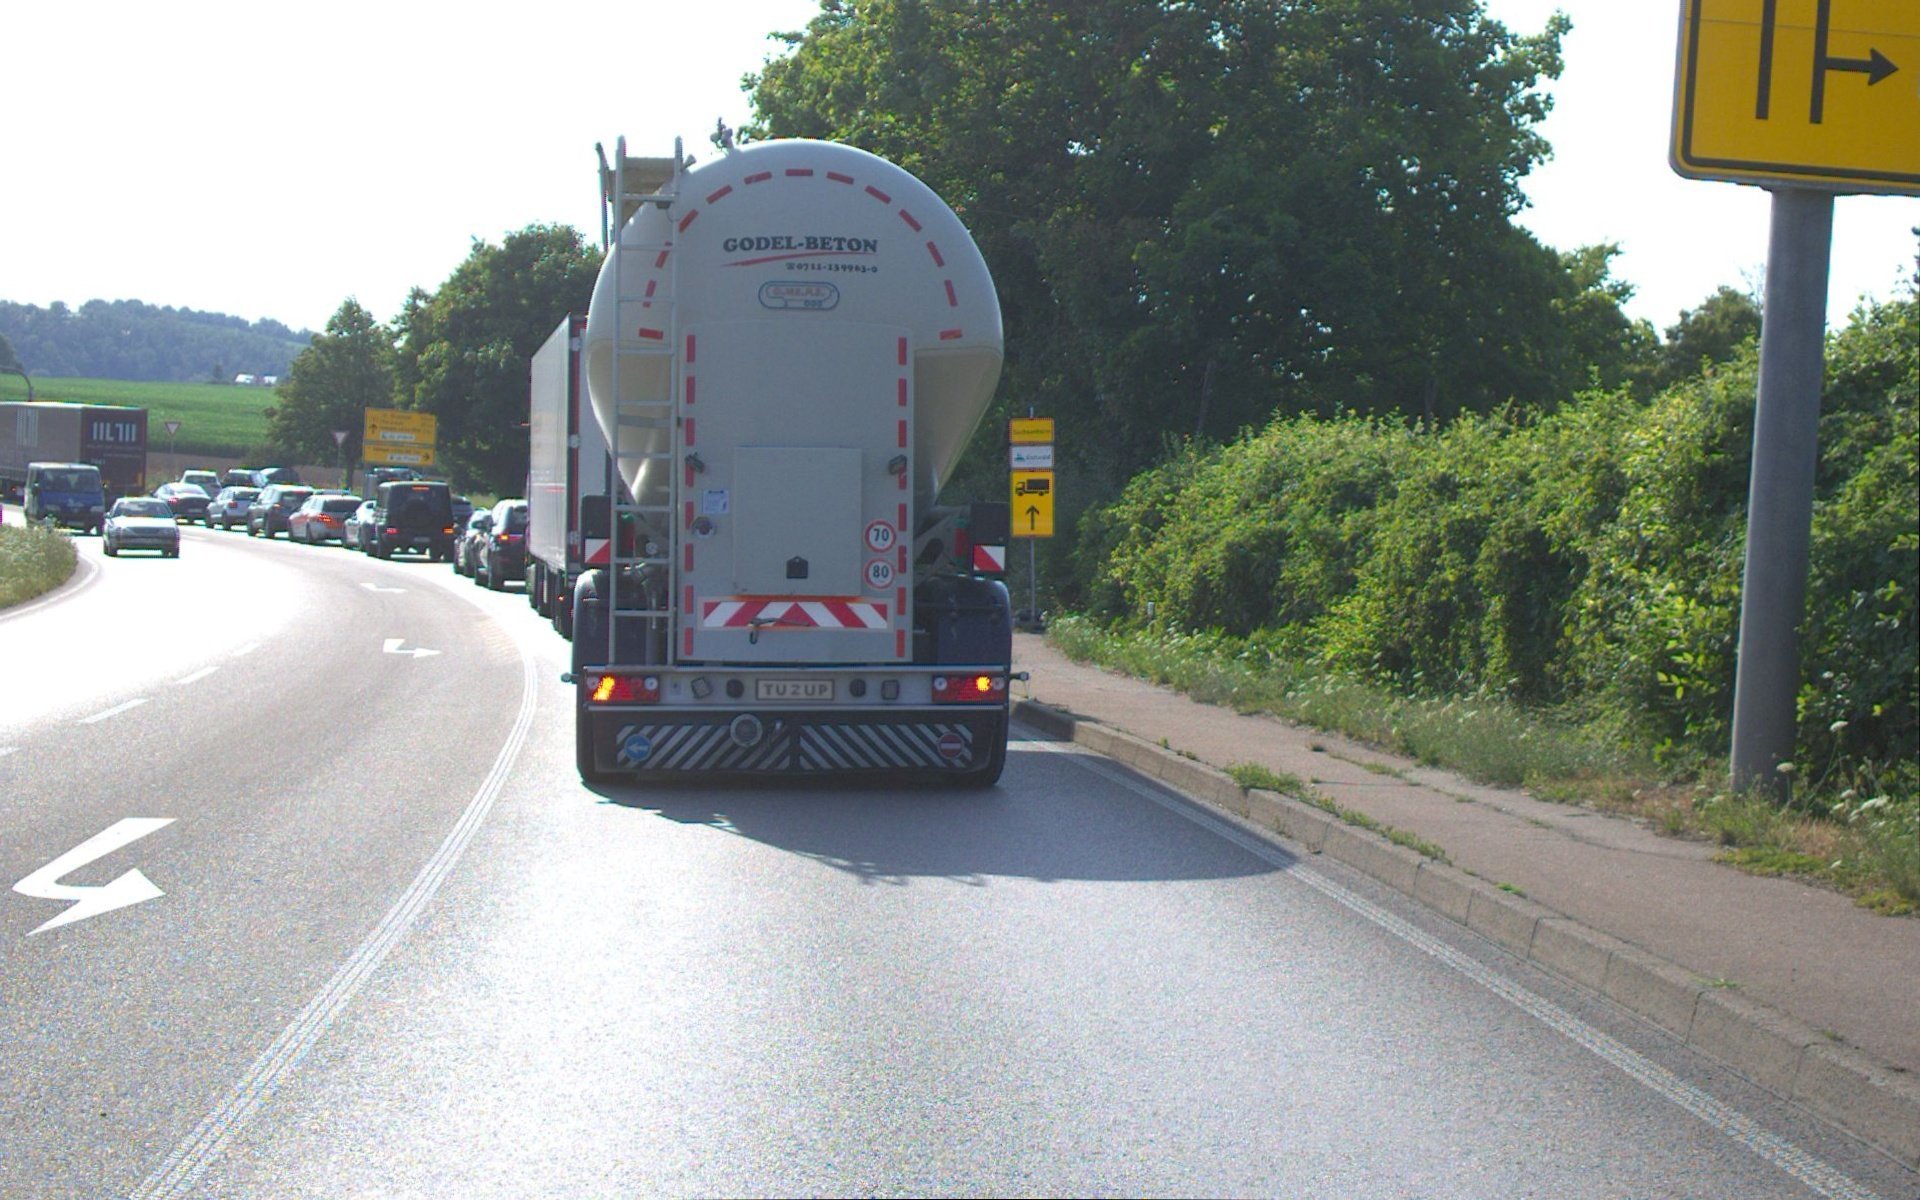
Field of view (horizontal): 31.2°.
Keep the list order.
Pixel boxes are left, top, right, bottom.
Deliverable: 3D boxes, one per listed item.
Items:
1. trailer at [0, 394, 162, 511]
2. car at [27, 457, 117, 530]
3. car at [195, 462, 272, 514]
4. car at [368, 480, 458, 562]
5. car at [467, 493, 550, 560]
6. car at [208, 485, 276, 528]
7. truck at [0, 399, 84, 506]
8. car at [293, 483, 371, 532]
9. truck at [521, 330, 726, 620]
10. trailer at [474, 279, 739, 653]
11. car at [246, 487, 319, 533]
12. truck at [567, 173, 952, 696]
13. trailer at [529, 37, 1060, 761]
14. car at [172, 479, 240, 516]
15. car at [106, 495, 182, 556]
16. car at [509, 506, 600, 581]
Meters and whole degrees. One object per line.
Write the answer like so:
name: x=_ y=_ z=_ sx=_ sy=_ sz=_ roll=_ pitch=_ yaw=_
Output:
trailer: x=-35.823 y=-5.960 z=138.810 sx=3.375 sy=4.335 sz=14.296 roll=2 pitch=2 yaw=-28
car: x=-27.203 y=-3.263 z=105.211 sx=1.997 sy=2.129 sz=4.781 roll=1 pitch=1 yaw=-22
car: x=-29.773 y=-4.588 z=140.802 sx=1.993 sy=2.006 sz=4.001 roll=0 pitch=3 yaw=-28
car: x=-14.001 y=-2.038 z=87.828 sx=1.861 sy=2.006 sz=3.720 roll=1 pitch=2 yaw=-15
car: x=-9.715 y=-1.590 z=73.831 sx=1.580 sy=1.336 sz=3.427 roll=2 pitch=1 yaw=-10
car: x=-24.173 y=-3.148 z=115.678 sx=1.580 sy=1.336 sz=3.427 roll=2 pitch=1 yaw=-22
truck: x=-39.688 y=-6.269 z=146.120 sx=3.375 sy=4.335 sz=5.707 roll=2 pitch=1 yaw=-28
car: x=-18.634 y=-2.752 z=101.941 sx=1.580 sy=1.336 sz=3.427 roll=2 pitch=1 yaw=-22
truck: x=-5.306 y=-1.962 z=54.661 sx=2.951 sy=4.288 sz=4.932 roll=2 pitch=1 yaw=-5
trailer: x=-4.751 y=-1.771 z=47.742 sx=2.954 sy=4.300 sz=14.178 roll=2 pitch=1 yaw=-5
car: x=-21.257 y=-2.846 z=107.838 sx=1.580 sy=1.336 sz=3.427 roll=2 pitch=1 yaw=-22
truck: x=-1.717 y=-1.318 z=28.621 sx=2.909 sy=3.992 sz=4.060 roll=1 pitch=1 yaw=-5
trailer: x=-1.336 y=-1.233 z=24.216 sx=2.909 sy=3.992 sz=9.932 roll=1 pitch=1 yaw=-5
car: x=-26.811 y=-3.648 z=122.197 sx=1.769 sy=1.201 sz=3.427 roll=2 pitch=1 yaw=-22
car: x=-20.111 y=-1.845 z=84.831 sx=1.706 sy=1.423 sz=4.179 roll=1 pitch=1 yaw=-12
car: x=-7.762 y=-1.099 z=65.639 sx=1.580 sy=1.336 sz=3.426 roll=2 pitch=1 yaw=-8
